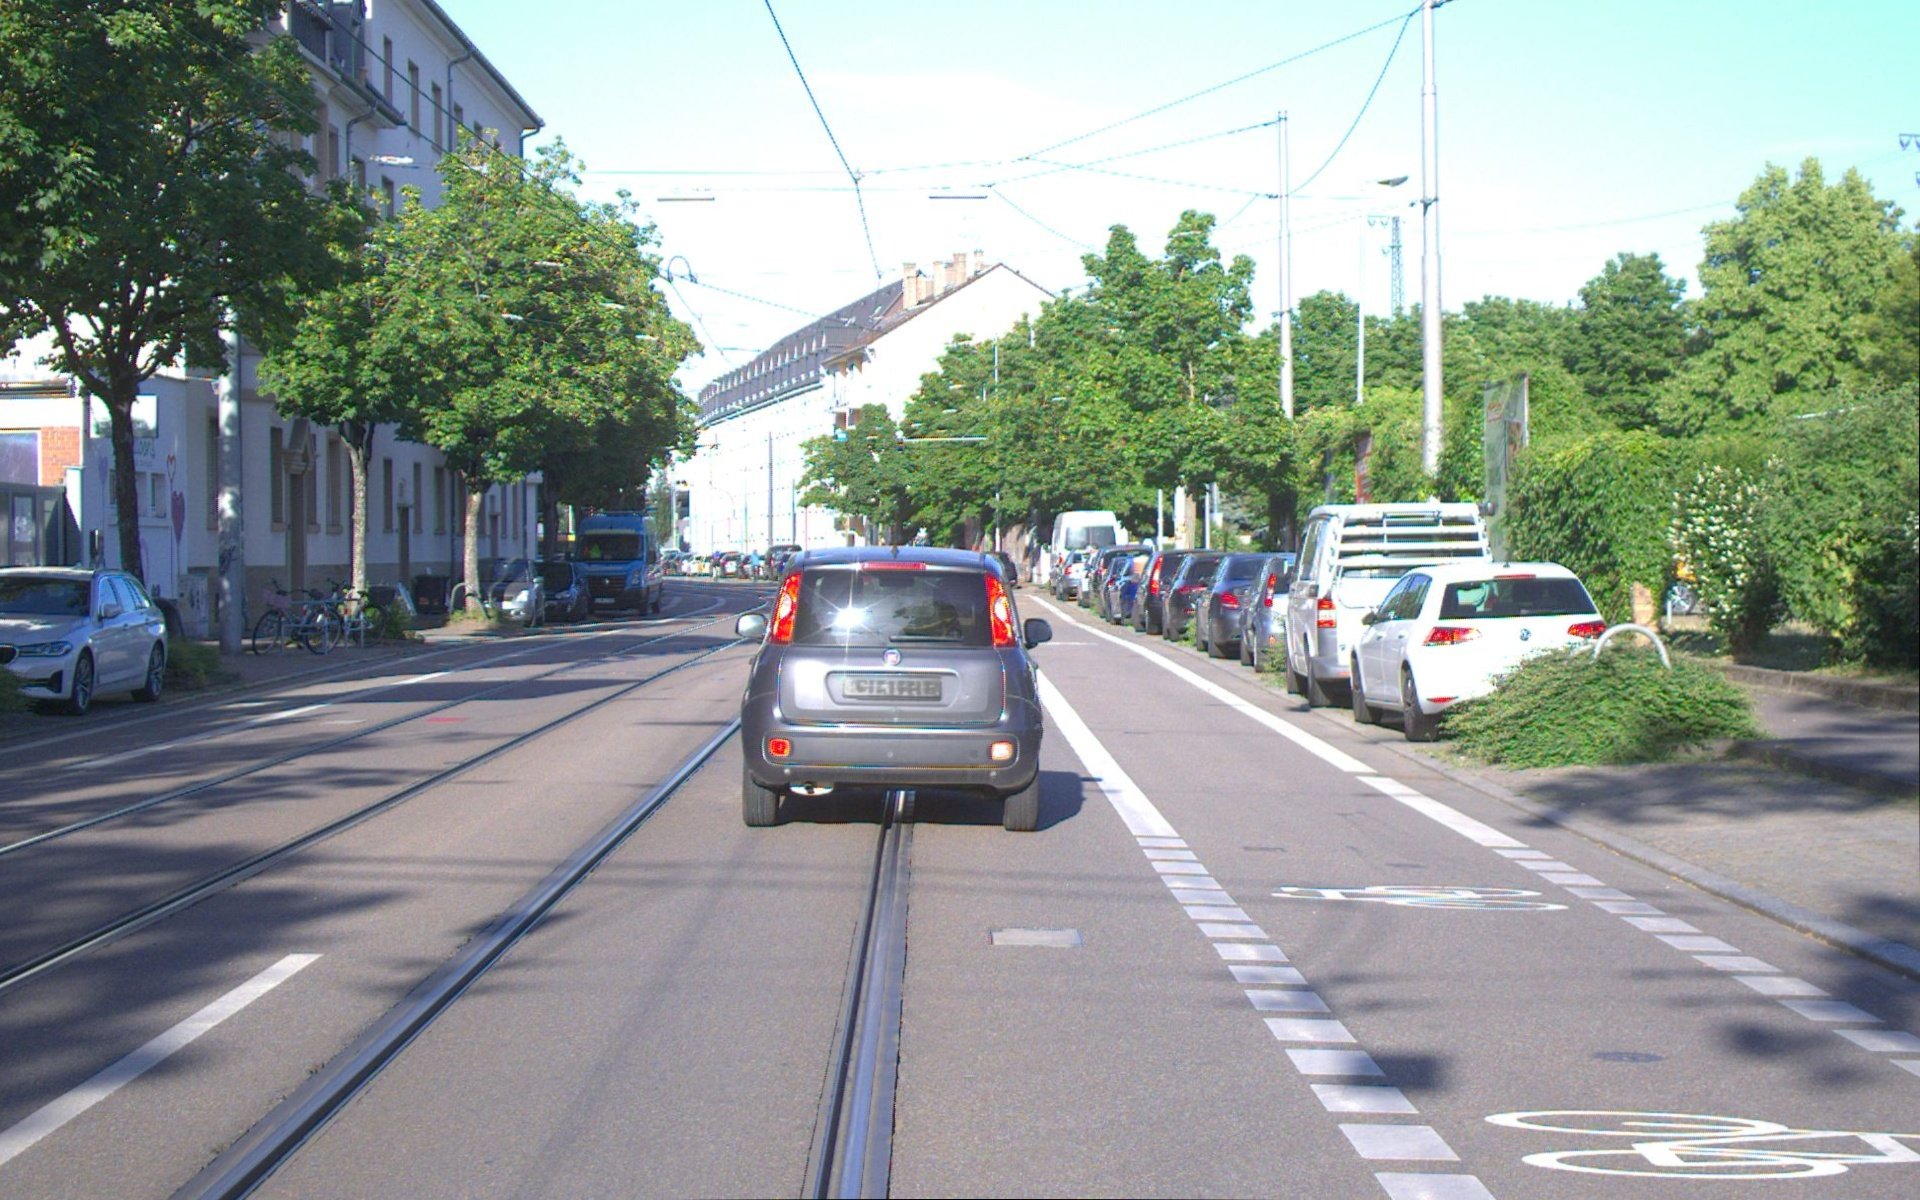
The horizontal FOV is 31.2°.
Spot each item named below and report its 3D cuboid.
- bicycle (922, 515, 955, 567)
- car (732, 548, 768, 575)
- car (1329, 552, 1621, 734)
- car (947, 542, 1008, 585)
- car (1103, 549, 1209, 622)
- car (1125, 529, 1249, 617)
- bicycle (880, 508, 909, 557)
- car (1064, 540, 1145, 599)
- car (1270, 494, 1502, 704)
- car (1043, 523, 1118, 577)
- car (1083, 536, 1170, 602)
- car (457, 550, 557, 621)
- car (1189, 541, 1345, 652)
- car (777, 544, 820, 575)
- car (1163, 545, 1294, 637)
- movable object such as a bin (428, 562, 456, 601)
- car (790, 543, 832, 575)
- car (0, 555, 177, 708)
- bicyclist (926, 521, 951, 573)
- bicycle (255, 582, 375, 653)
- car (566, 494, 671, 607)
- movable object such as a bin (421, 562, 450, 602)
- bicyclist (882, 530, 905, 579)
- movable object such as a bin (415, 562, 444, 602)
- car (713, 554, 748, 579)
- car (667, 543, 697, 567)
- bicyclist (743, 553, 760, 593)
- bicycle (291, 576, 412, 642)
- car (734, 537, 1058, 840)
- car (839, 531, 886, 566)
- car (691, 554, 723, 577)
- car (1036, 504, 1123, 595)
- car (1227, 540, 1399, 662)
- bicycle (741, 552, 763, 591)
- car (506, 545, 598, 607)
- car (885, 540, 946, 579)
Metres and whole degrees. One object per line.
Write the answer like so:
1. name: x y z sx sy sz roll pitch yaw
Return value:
1. bicycle: -0.723 -1.989 115.816 0.675 1.741 2.158 1 1 -11
2. car: -12.000 -2.192 196.608 1.655 1.495 3.130 1 1 -11
3. car: 4.408 0.321 30.067 1.675 1.413 4.503 -2 1 -2
4. car: 0.620 -1.344 126.375 1.688 1.525 4.001 -2 1 -7
5. car: 4.088 -0.323 72.268 1.727 1.459 4.342 1 1 -3
6. car: 4.141 -0.508 63.145 1.824 1.487 3.815 -2 1 -2
7. bicycle: -2.375 -2.438 124.108 0.675 1.741 2.158 1 1 -11
8. car: 3.808 -0.820 91.259 1.727 1.507 4.252 1 1 -3
9. car: 4.302 -0.043 35.465 1.854 1.984 5.242 -1 1 1
10. car: 3.493 -1.456 100.377 1.910 1.524 4.601 -1 1 -1
11. car: 4.155 -0.781 86.481 1.727 1.599 4.343 1 1 -3
12. car: -9.898 -0.333 75.332 1.651 1.486 4.000 1 1 0
13. car: 4.304 -0.077 48.768 1.824 1.479 4.601 1 1 1
14. car: -8.468 -2.124 180.066 1.655 1.566 3.877 1 1 -11
15. car: 4.418 -0.178 57.108 1.824 1.447 4.642 -1 1 0
16. movable object such as a bin: -12.506 -0.445 83.031 0.596 0.931 0.569 -1 1 -3
17. car: -7.637 -2.103 176.028 1.655 1.566 3.500 1 1 -11
18. car: -9.689 0.282 36.190 1.864 1.485 4.662 1 1 -1
19. bicyclist: -0.734 -1.780 115.767 0.699 1.753 0.758 1 0 -11
20. bicycle: -9.718 0.256 51.829 0.668 1.036 1.783 1 1 37
21. car: -8.848 -1.271 89.453 2.017 2.816 6.032 1 1 1
22. movable object such as a bin: -12.394 -0.424 81.228 0.596 0.931 0.569 -1 1 -3
23. bicyclist: -2.405 -1.638 124.071 0.699 1.753 0.758 1 0 -11
24. movable object such as a bin: -12.437 -0.417 80.633 0.596 0.931 0.569 -1 1 -3
25. car: -13.754 -2.029 205.916 1.582 1.400 3.377 -4 1 -11
26. car: -18.694 -3.036 230.945 1.582 1.593 3.377 1 1 -11
27. bicyclist: -10.731 -1.386 176.849 0.715 2.007 0.832 1 0 -11
28. bicycle: -9.818 0.147 55.502 0.532 1.036 1.982 1 1 44
29. car: -0.351 0.426 19.892 1.650 1.536 4.235 1 1 -1
30. car: -4.499 -2.361 157.867 1.635 1.503 3.398 -3 1 -10
31. car: -16.011 -2.171 217.185 1.582 1.400 3.377 1 1 -11
32. car: 3.689 -1.575 107.209 2.180 2.656 6.091 -2 1 -2
33. car: 4.476 -0.011 44.072 1.873 1.467 4.075 1 1 2
34. bicycle: -10.718 -1.465 176.863 0.741 2.007 2.812 1 1 -11
35. car: -9.662 -0.581 81.649 1.651 1.420 4.190 1 1 0
36. car: -1.865 -1.677 142.944 1.688 1.525 4.001 -2 1 -13
